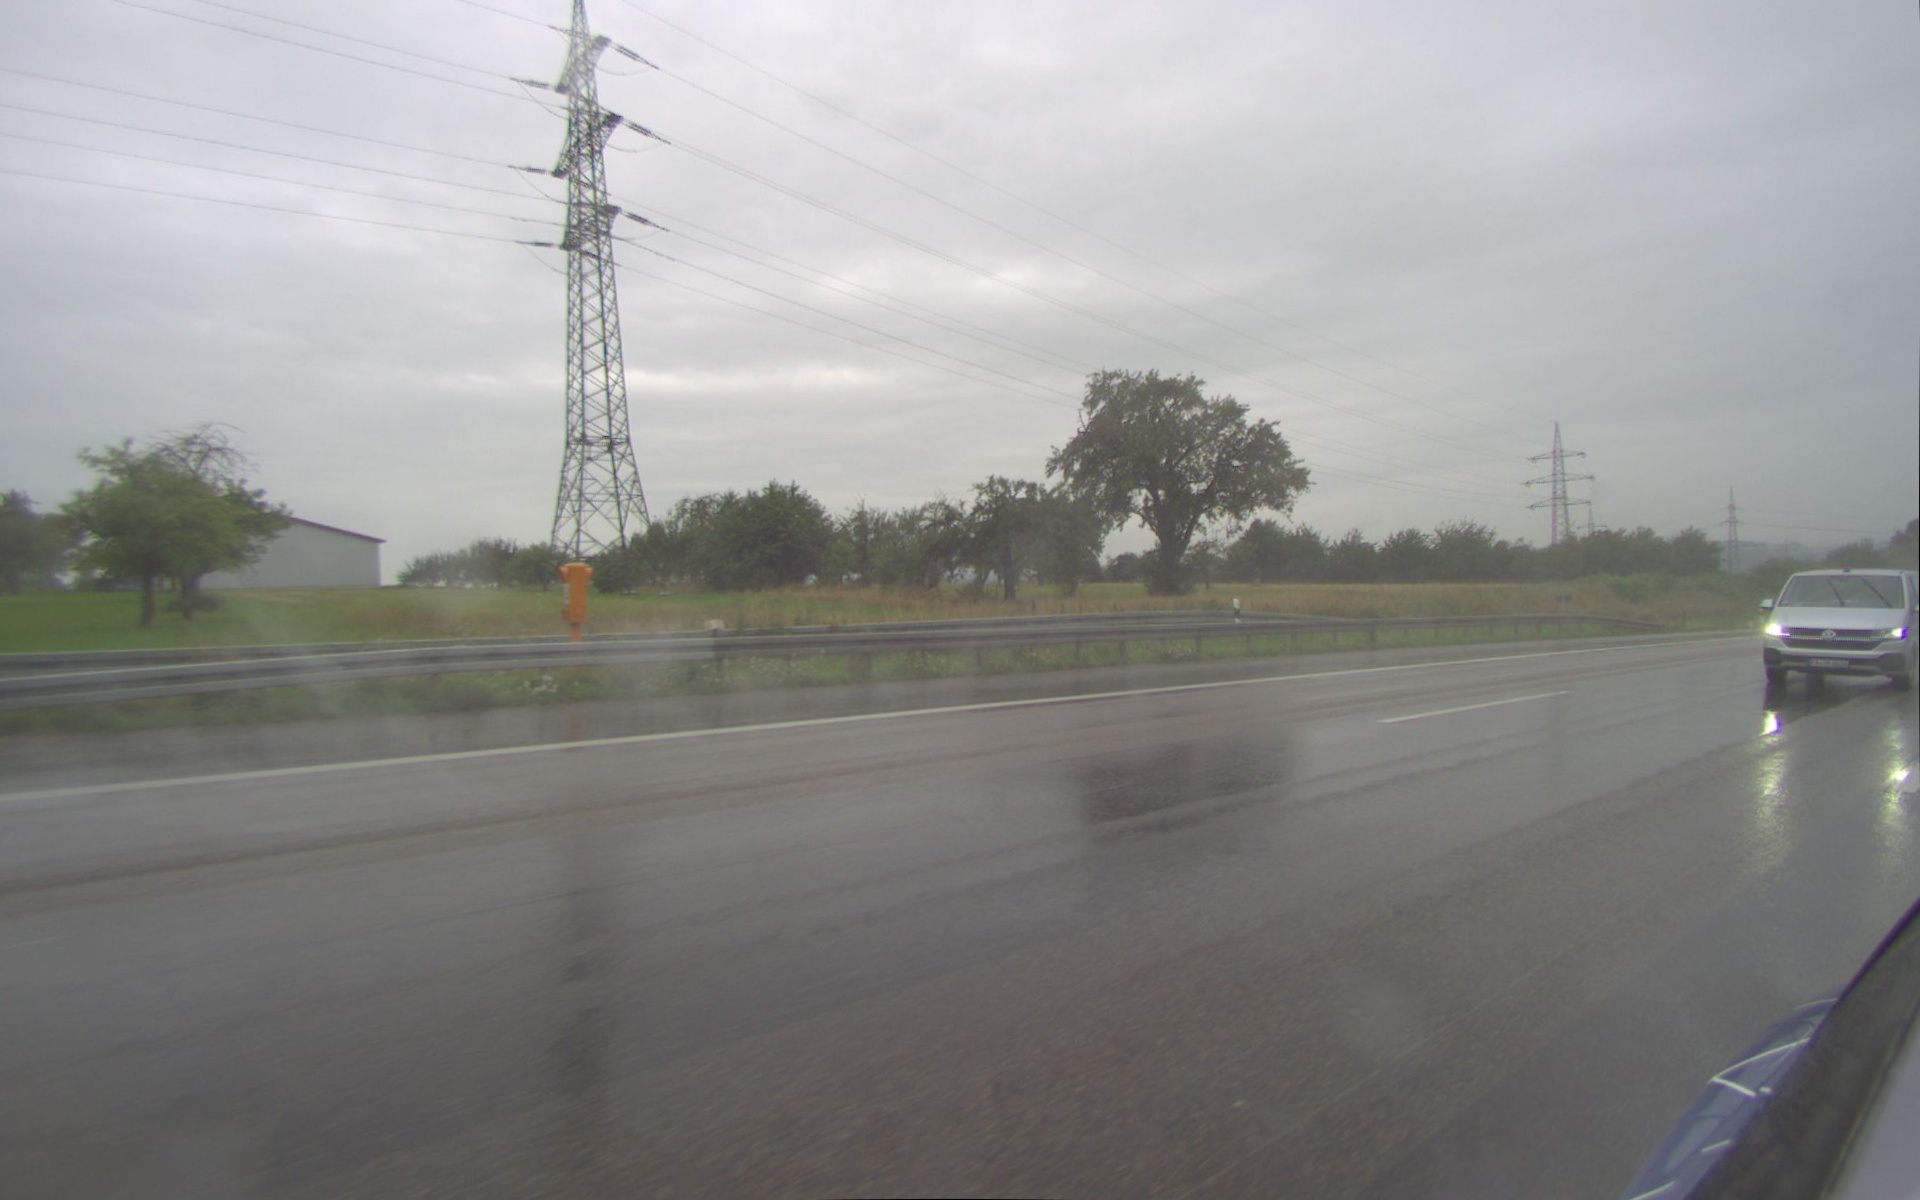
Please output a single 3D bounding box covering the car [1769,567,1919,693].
[{"bbox_3d":[16.014,0.491,17.680,4.919,1.908,1.890,0,-2,-39],"label":"car"}]
